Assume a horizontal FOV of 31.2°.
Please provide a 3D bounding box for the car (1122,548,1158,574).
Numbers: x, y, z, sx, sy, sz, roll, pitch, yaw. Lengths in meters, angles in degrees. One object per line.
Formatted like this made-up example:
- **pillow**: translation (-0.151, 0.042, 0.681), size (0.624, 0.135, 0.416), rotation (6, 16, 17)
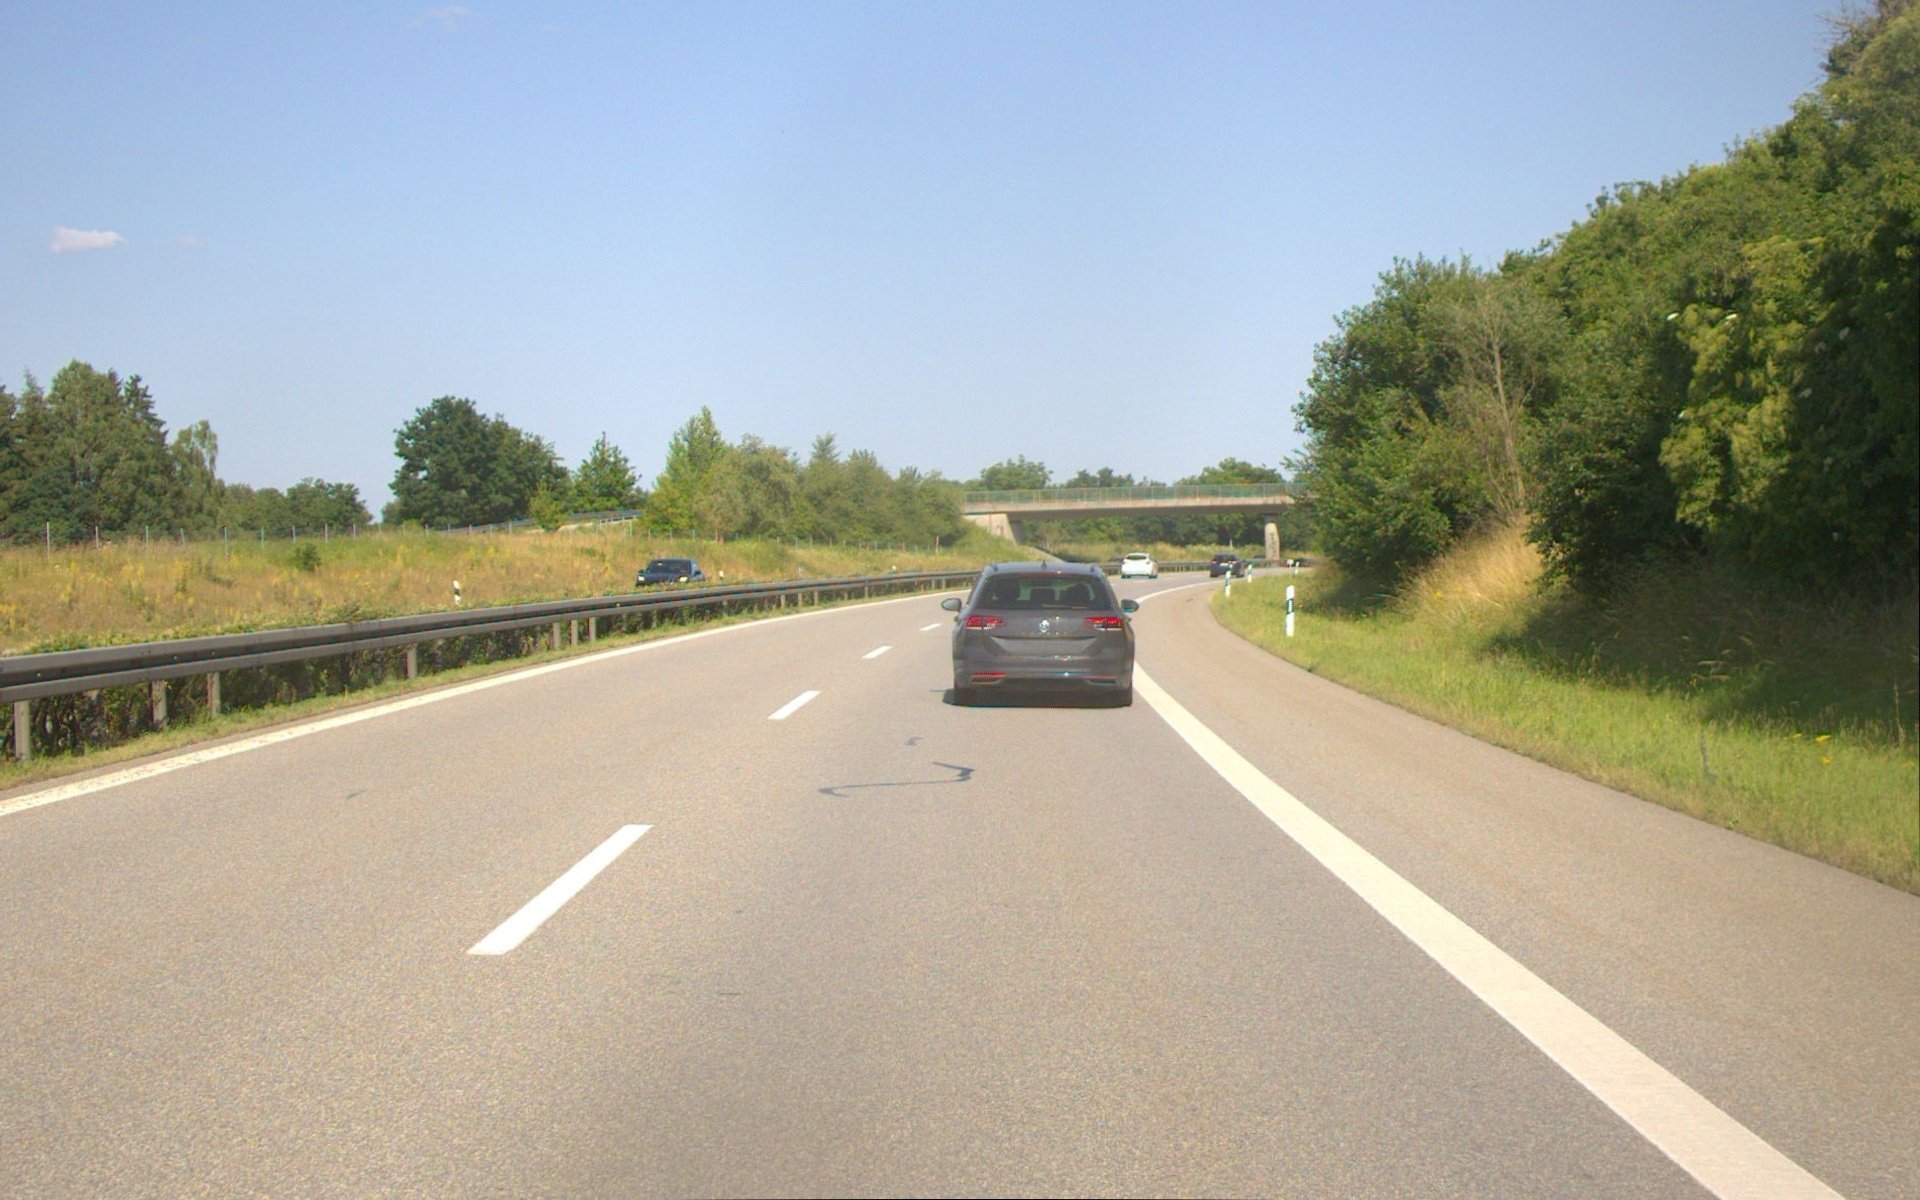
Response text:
- **car**: translation (10.230, -2.191, 195.590), size (2.007, 1.340, 4.000), rotation (1, 0, 2)

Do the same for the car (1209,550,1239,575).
- **car**: translation (15.929, -2.267, 207.557), size (1.711, 1.382, 3.355), rotation (1, 0, 4)

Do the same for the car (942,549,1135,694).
- **car**: translation (0.853, 0.205, 34.881), size (1.791, 1.340, 4.000), rotation (1, 0, 3)

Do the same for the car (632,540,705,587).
- **car**: translation (-10.129, -1.283, 119.860), size (1.832, 1.547, 4.465), rotation (0, 2, 4)
